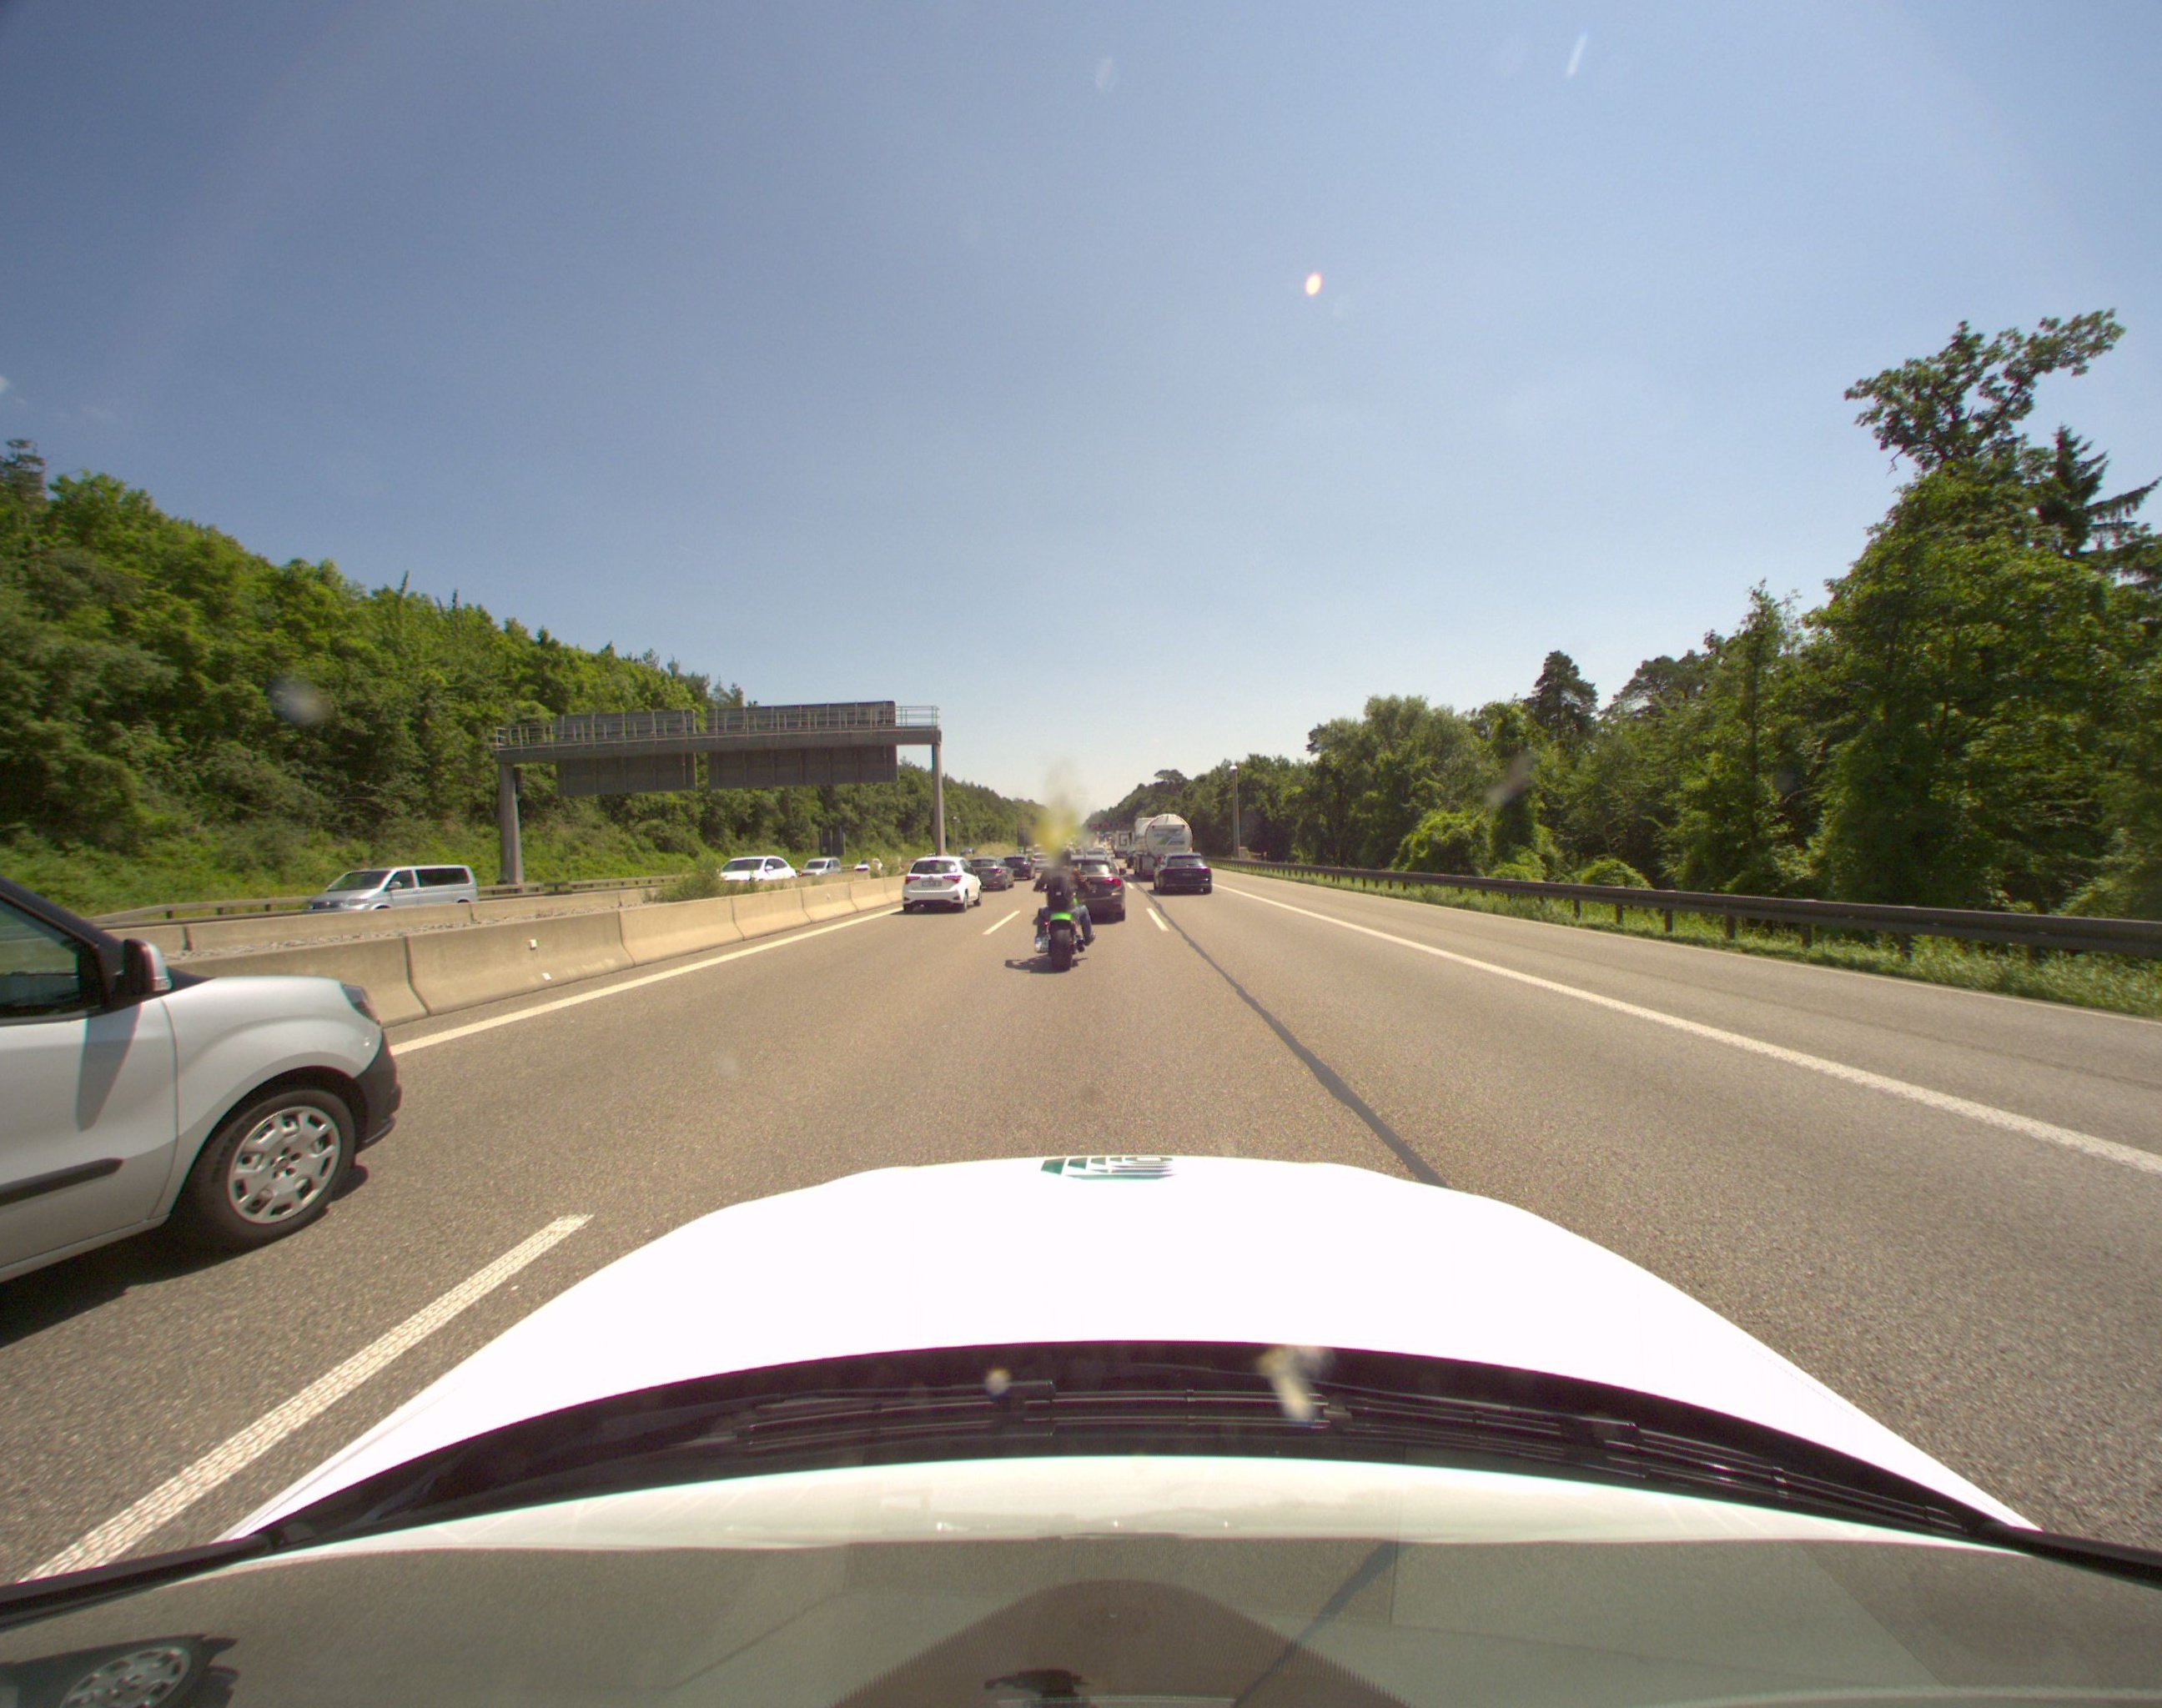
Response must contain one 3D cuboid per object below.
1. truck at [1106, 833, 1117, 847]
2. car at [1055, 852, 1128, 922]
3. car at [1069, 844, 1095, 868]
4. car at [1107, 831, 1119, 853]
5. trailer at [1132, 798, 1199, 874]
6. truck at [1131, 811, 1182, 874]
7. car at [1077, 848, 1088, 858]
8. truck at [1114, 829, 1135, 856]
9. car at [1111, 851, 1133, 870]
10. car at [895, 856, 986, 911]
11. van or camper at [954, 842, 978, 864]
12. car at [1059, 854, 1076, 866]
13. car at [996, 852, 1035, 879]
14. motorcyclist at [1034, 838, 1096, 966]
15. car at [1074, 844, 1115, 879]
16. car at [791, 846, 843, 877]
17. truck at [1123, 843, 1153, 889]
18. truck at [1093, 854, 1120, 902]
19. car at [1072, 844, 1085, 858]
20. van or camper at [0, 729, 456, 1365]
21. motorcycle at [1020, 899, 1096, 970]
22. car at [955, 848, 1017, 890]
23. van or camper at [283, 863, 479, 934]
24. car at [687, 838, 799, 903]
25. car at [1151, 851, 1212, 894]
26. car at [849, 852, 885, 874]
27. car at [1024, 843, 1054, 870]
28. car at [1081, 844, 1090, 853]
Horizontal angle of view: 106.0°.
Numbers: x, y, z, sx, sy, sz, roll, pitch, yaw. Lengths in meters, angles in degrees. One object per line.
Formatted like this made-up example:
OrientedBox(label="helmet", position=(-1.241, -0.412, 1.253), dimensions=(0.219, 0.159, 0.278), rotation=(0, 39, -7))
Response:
OrientedBox(label="truck", position=(8.344, -3.694, 222.198), dimensions=(2.686, 3.405, 10.481), rotation=(-2, -1, 2))
OrientedBox(label="car", position=(0.276, 0.706, 19.252), dimensions=(1.535, 1.450, 4.001), rotation=(-1, 0, 1))
OrientedBox(label="car", position=(0.087, 0.182, 63.602), dimensions=(1.987, 1.775, 4.000), rotation=(-1, -1, 1))
OrientedBox(label="car", position=(6.303, -2.275, 159.228), dimensions=(2.159, 3.893, 9.332), rotation=(-1, -1, 2))
OrientedBox(label="trailer", position=(4.414, -0.764, 44.577), dimensions=(2.817, 3.671, 10.735), rotation=(-1, -1, 2))
OrientedBox(label="truck", position=(4.624, -0.638, 51.131), dimensions=(2.817, 3.671, 6.433), rotation=(-1, -1, 2))
OrientedBox(label="car", position=(0.255, -0.164, 138.273), dimensions=(1.654, 1.599, 4.002), rotation=(-1, -1, 2))
OrientedBox(label="truck", position=(6.471, -1.658, 121.106), dimensions=(2.841, 3.821, 7.195), rotation=(-1, -1, 4))
OrientedBox(label="car", position=(3.435, 0.597, 69.115), dimensions=(1.769, 1.527, 4.001), rotation=(-1, -1, 1))
OrientedBox(label="car", position=(-3.857, 0.794, 22.975), dimensions=(1.769, 1.411, 4.001), rotation=(-1, -1, 1))
OrientedBox(label="van or camper", position=(-15.431, -0.058, 109.432), dimensions=(2.146, 2.859, 6.653), rotation=(-1, -1, 1))
OrientedBox(label="car", position=(-1.616, 0.714, 98.936), dimensions=(1.757, 1.442, 4.002), rotation=(-1, 0, 2))
OrientedBox(label="car", position=(-3.679, 0.665, 46.502), dimensions=(1.988, 1.464, 3.997), rotation=(-1, -1, -2))
OrientedBox(label="motorcyclist", position=(-0.208, 0.646, 11.299), dimensions=(0.796, 1.688, 1.017), rotation=(-1, -1, 1))
OrientedBox(label="car", position=(0.673, 0.411, 41.959), dimensions=(1.987, 1.711, 4.000), rotation=(-1, -1, 1))
OrientedBox(label="car", position=(-18.331, 0.558, 56.788), dimensions=(1.986, 2.014, 4.475), rotation=(-1, -1, 2))
OrientedBox(label="truck", position=(5.932, 1.152, 86.069), dimensions=(2.380, 4.464, 10.869), rotation=(-1, 0, 1))
OrientedBox(label="truck", position=(2.492, 2.263, 82.311), dimensions=(2.380, 4.464, 10.869), rotation=(-1, 0, 1))
OrientedBox(label="car", position=(-0.400, -0.467, 119.791), dimensions=(1.654, 1.978, 4.002), rotation=(-1, -1, 2))
OrientedBox(label="van or camper", position=(-4.147, 0.581, 1.809), dimensions=(1.846, 1.880, 4.564), rotation=(-1, 0, 2))
OrientedBox(label="motorcycle", position=(-0.273, 1.090, 11.537), dimensions=(0.932, 0.793, 2.299), rotation=(-1, -1, 1))
OrientedBox(label="car", position=(-3.997, 0.650, 34.963), dimensions=(1.986, 1.684, 4.331), rotation=(-1, -1, 1))
OrientedBox(label="van or camper", position=(-21.741, 1.310, 25.631), dimensions=(1.986, 2.014, 4.682), rotation=(-1, -1, 2))
OrientedBox(label="car", position=(-11.344, 0.553, 27.659), dimensions=(1.987, 2.014, 4.193), rotation=(-1, -1, 1))
OrientedBox(label="car", position=(3.634, 0.677, 30.108), dimensions=(1.785, 1.458, 4.625), rotation=(-1, -1, 1))
OrientedBox(label="car", position=(-20.387, 0.908, 77.733), dimensions=(2.115, 2.014, 4.365), rotation=(-1, -1, 2))
OrientedBox(label="car", position=(-3.220, 0.201, 63.303), dimensions=(1.986, 2.014, 4.000), rotation=(-1, -1, 1))
OrientedBox(label="car", position=(1.029, -1.277, 189.661), dimensions=(1.986, 2.014, 4.001), rotation=(-2, -1, 1))
